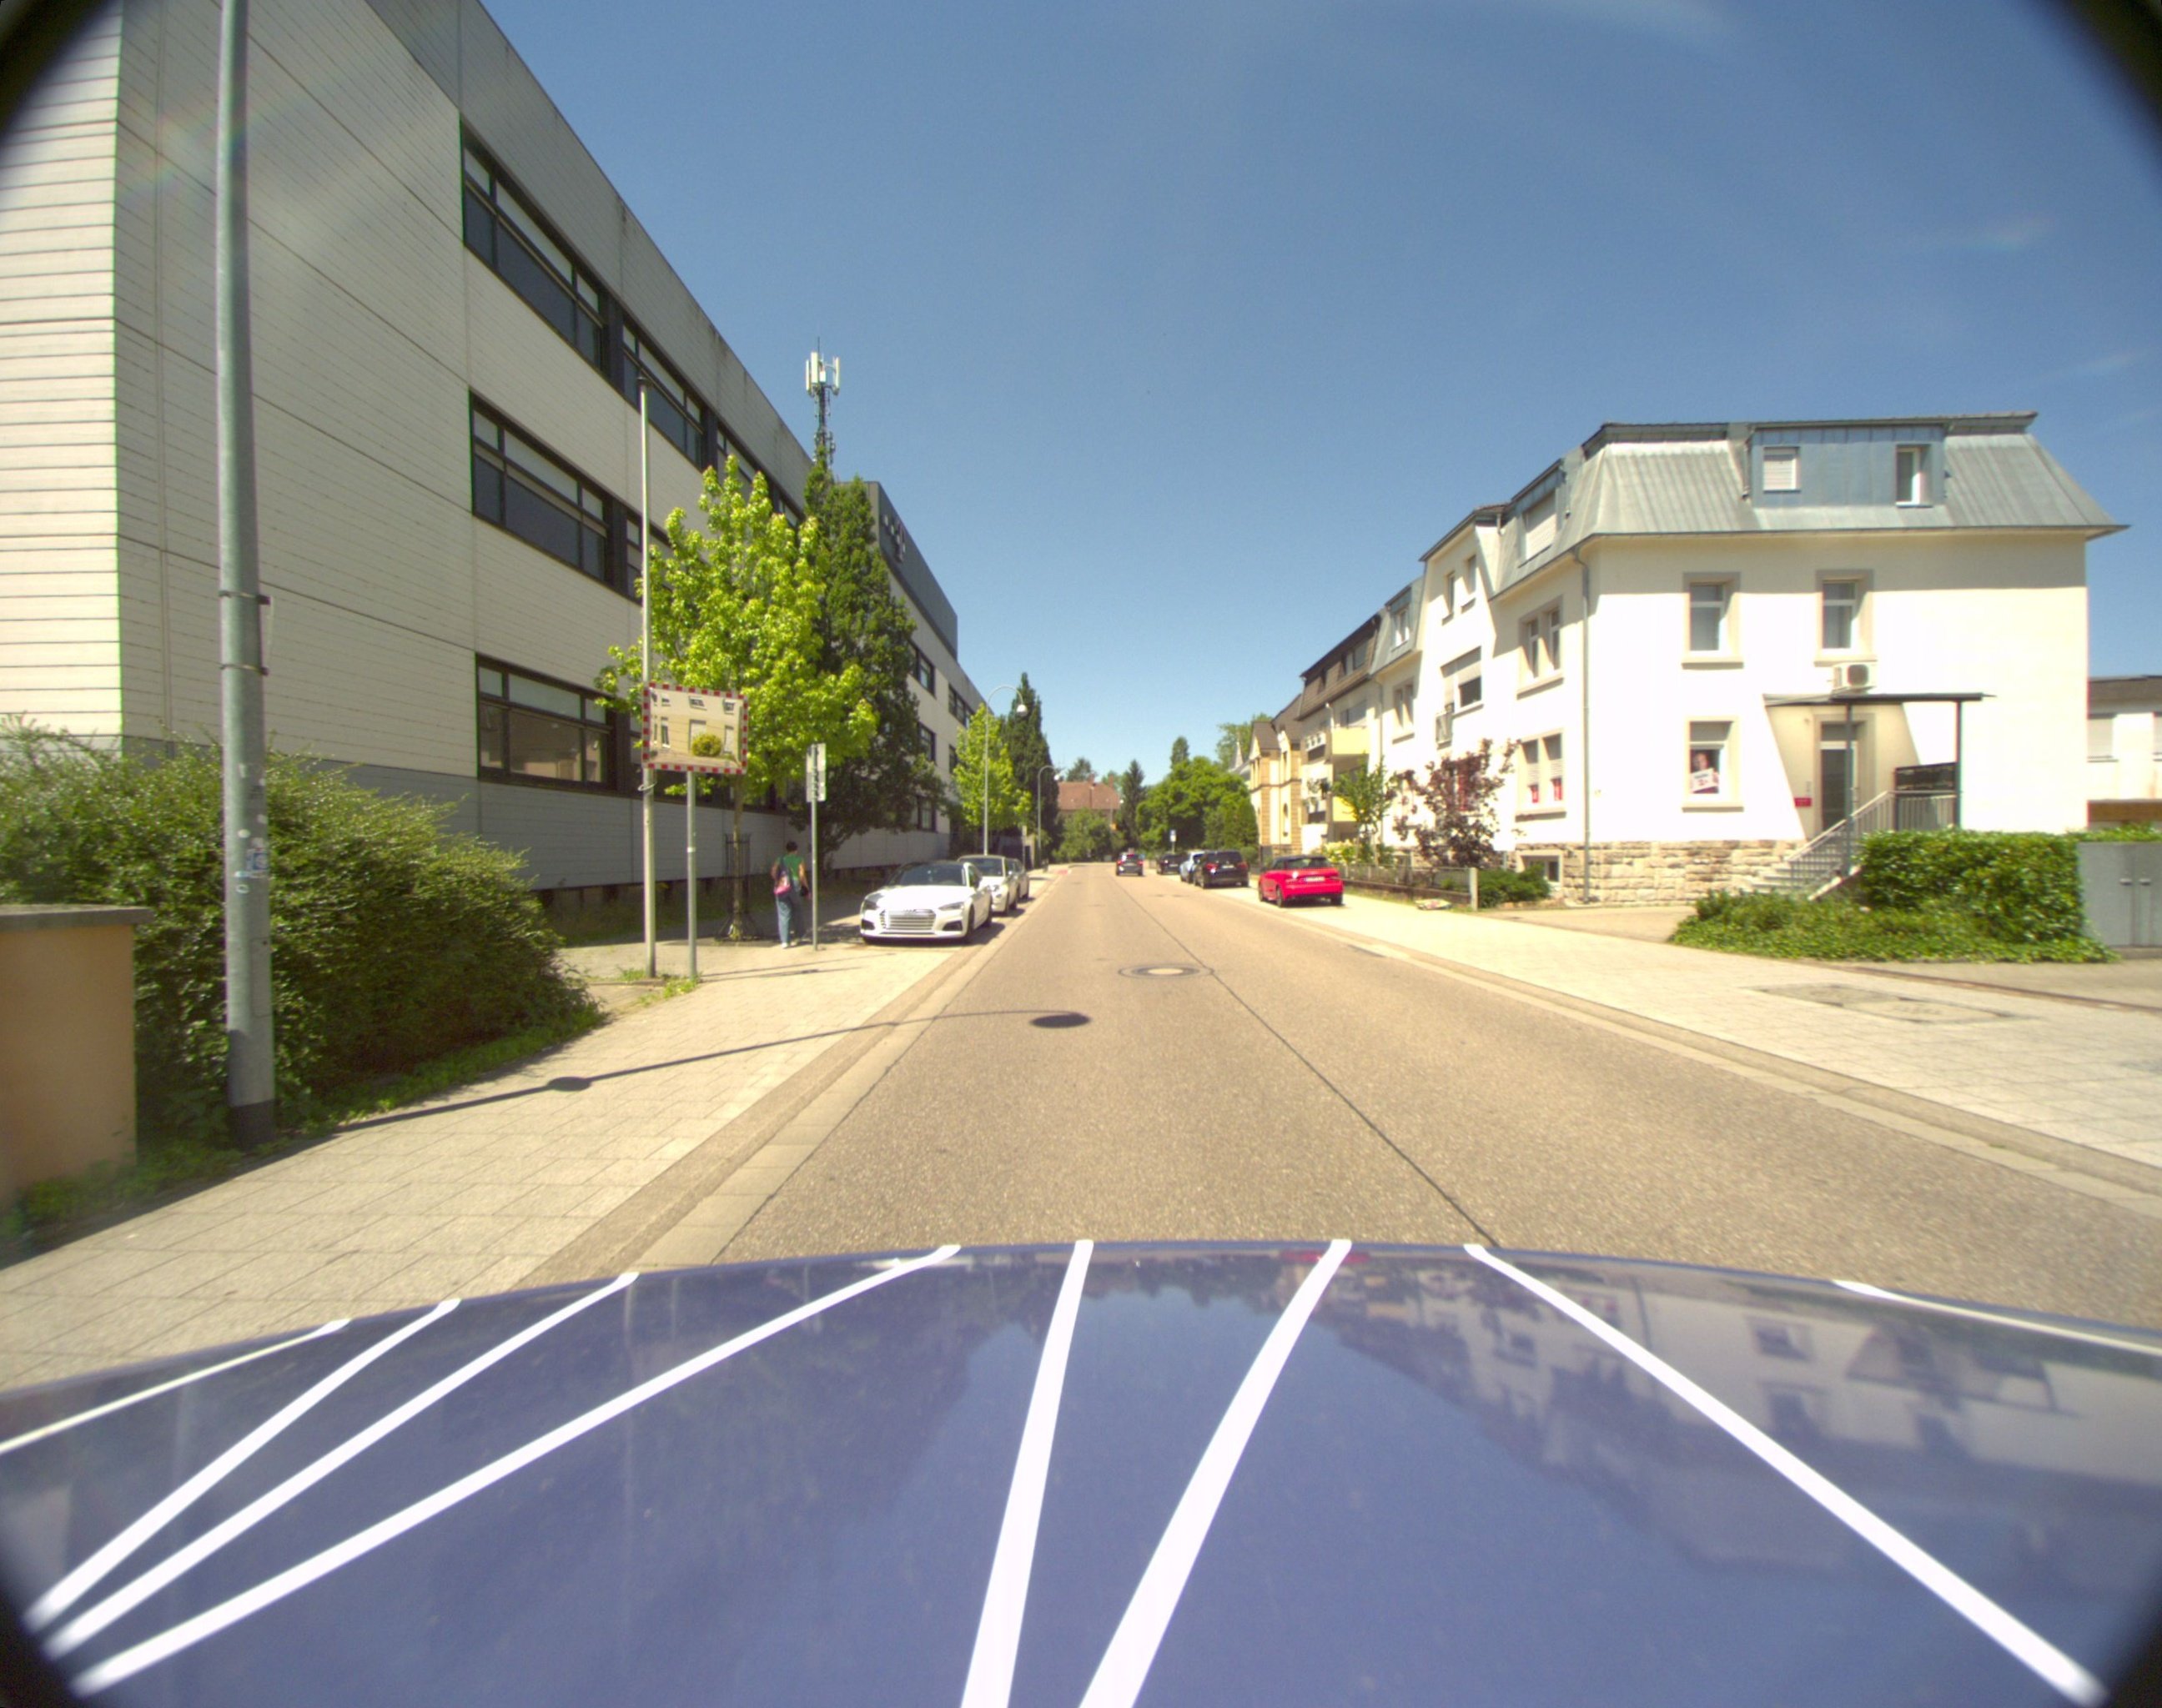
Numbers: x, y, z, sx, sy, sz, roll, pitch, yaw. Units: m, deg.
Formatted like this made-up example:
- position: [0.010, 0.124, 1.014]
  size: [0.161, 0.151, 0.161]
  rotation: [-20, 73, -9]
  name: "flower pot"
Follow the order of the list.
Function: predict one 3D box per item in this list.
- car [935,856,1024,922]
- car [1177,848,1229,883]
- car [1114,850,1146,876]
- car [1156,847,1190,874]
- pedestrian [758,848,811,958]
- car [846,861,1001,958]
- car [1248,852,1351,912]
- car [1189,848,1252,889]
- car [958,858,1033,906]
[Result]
- position: [-2.523, 0.832, 19.689]
  size: [1.714, 1.489, 3.877]
  rotation: [0, 0, 1]
  name: "car"
- position: [6.143, 0.522, 38.692]
  size: [1.925, 1.577, 4.287]
  rotation: [-3, 0, 1]
  name: "car"
- position: [3.328, 0.570, 52.272]
  size: [1.925, 1.668, 4.287]
  rotation: [0, 1, 1]
  name: "car"
- position: [6.405, 0.426, 53.080]
  size: [1.925, 1.681, 4.287]
  rotation: [-3, 0, 2]
  name: "car"
- position: [-4.786, 0.754, 12.312]
  size: [0.681, 1.690, 1.048]
  rotation: [1, 1, -16]
  name: "pedestrian"
- position: [-2.756, 0.899, 14.483]
  size: [1.920, 1.460, 4.880]
  rotation: [0, 0, 0]
  name: "car"
- position: [6.148, 0.714, 21.880]
  size: [1.737, 1.444, 4.260]
  rotation: [-3, 0, 1]
  name: "car"
- position: [6.011, 0.580, 33.176]
  size: [1.925, 1.577, 4.435]
  rotation: [-3, 0, 1]
  name: "car"
- position: [-2.682, 0.855, 24.731]
  size: [1.841, 1.357, 4.000]
  rotation: [0, 0, 2]
  name: "car"
